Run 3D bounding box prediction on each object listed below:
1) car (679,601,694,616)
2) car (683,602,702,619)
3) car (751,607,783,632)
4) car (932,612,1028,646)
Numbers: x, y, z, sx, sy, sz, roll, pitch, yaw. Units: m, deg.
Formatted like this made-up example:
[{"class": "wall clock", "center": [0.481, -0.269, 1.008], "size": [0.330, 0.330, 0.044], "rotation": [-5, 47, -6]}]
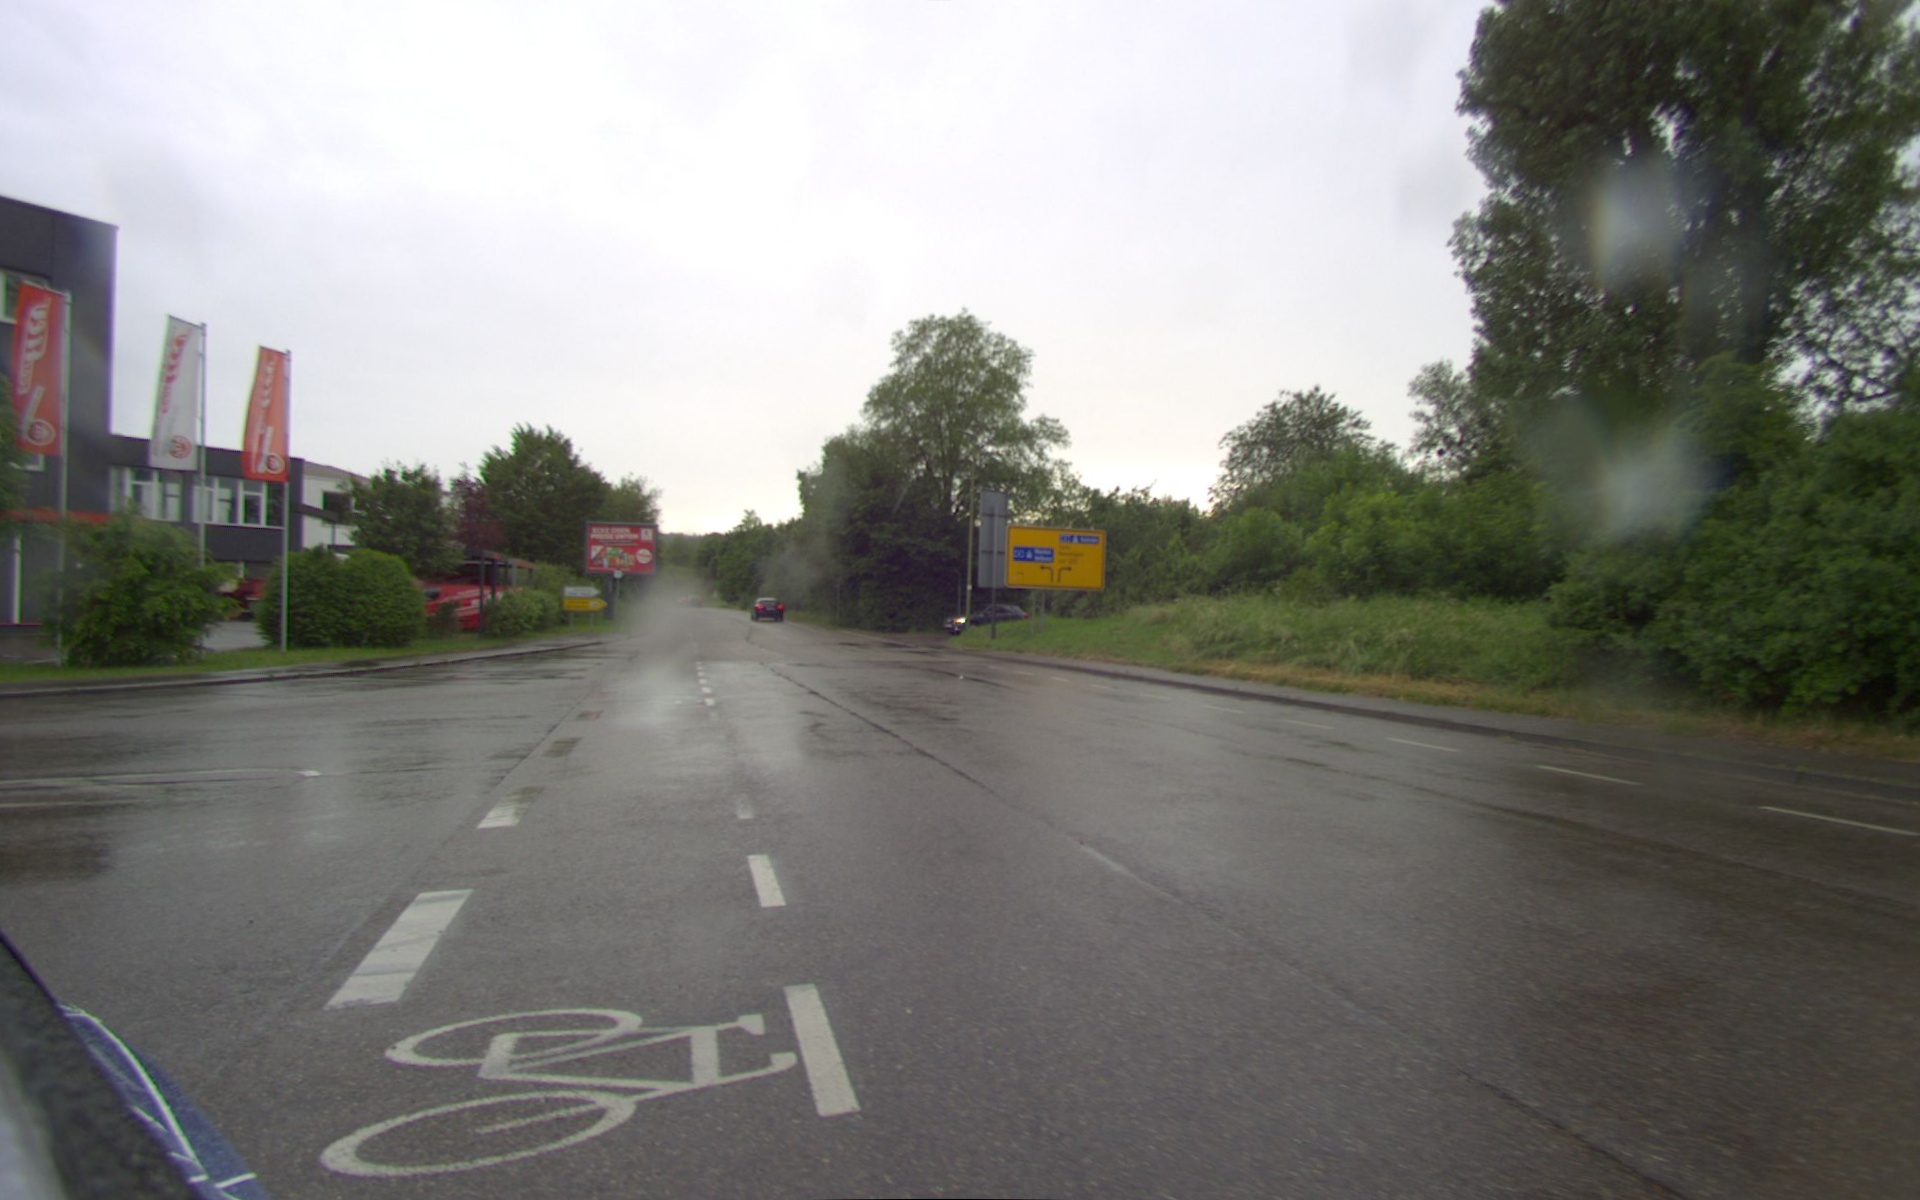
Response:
[{"class": "car", "center": [-39.300, 1.261, 145.247], "size": [1.778, 2.029, 4.013], "rotation": [1, 0, -20]}, {"class": "car", "center": [-33.806, 1.359, 128.017], "size": [1.965, 2.029, 4.013], "rotation": [1, 0, -20]}, {"class": "car", "center": [-12.200, 1.225, 64.131], "size": [1.806, 1.535, 4.007], "rotation": [1, -1, -9]}, {"class": "car", "center": [0.937, 1.340, 46.918], "size": [4.050, 1.501, 1.863], "rotation": [1, -1, -29]}]
